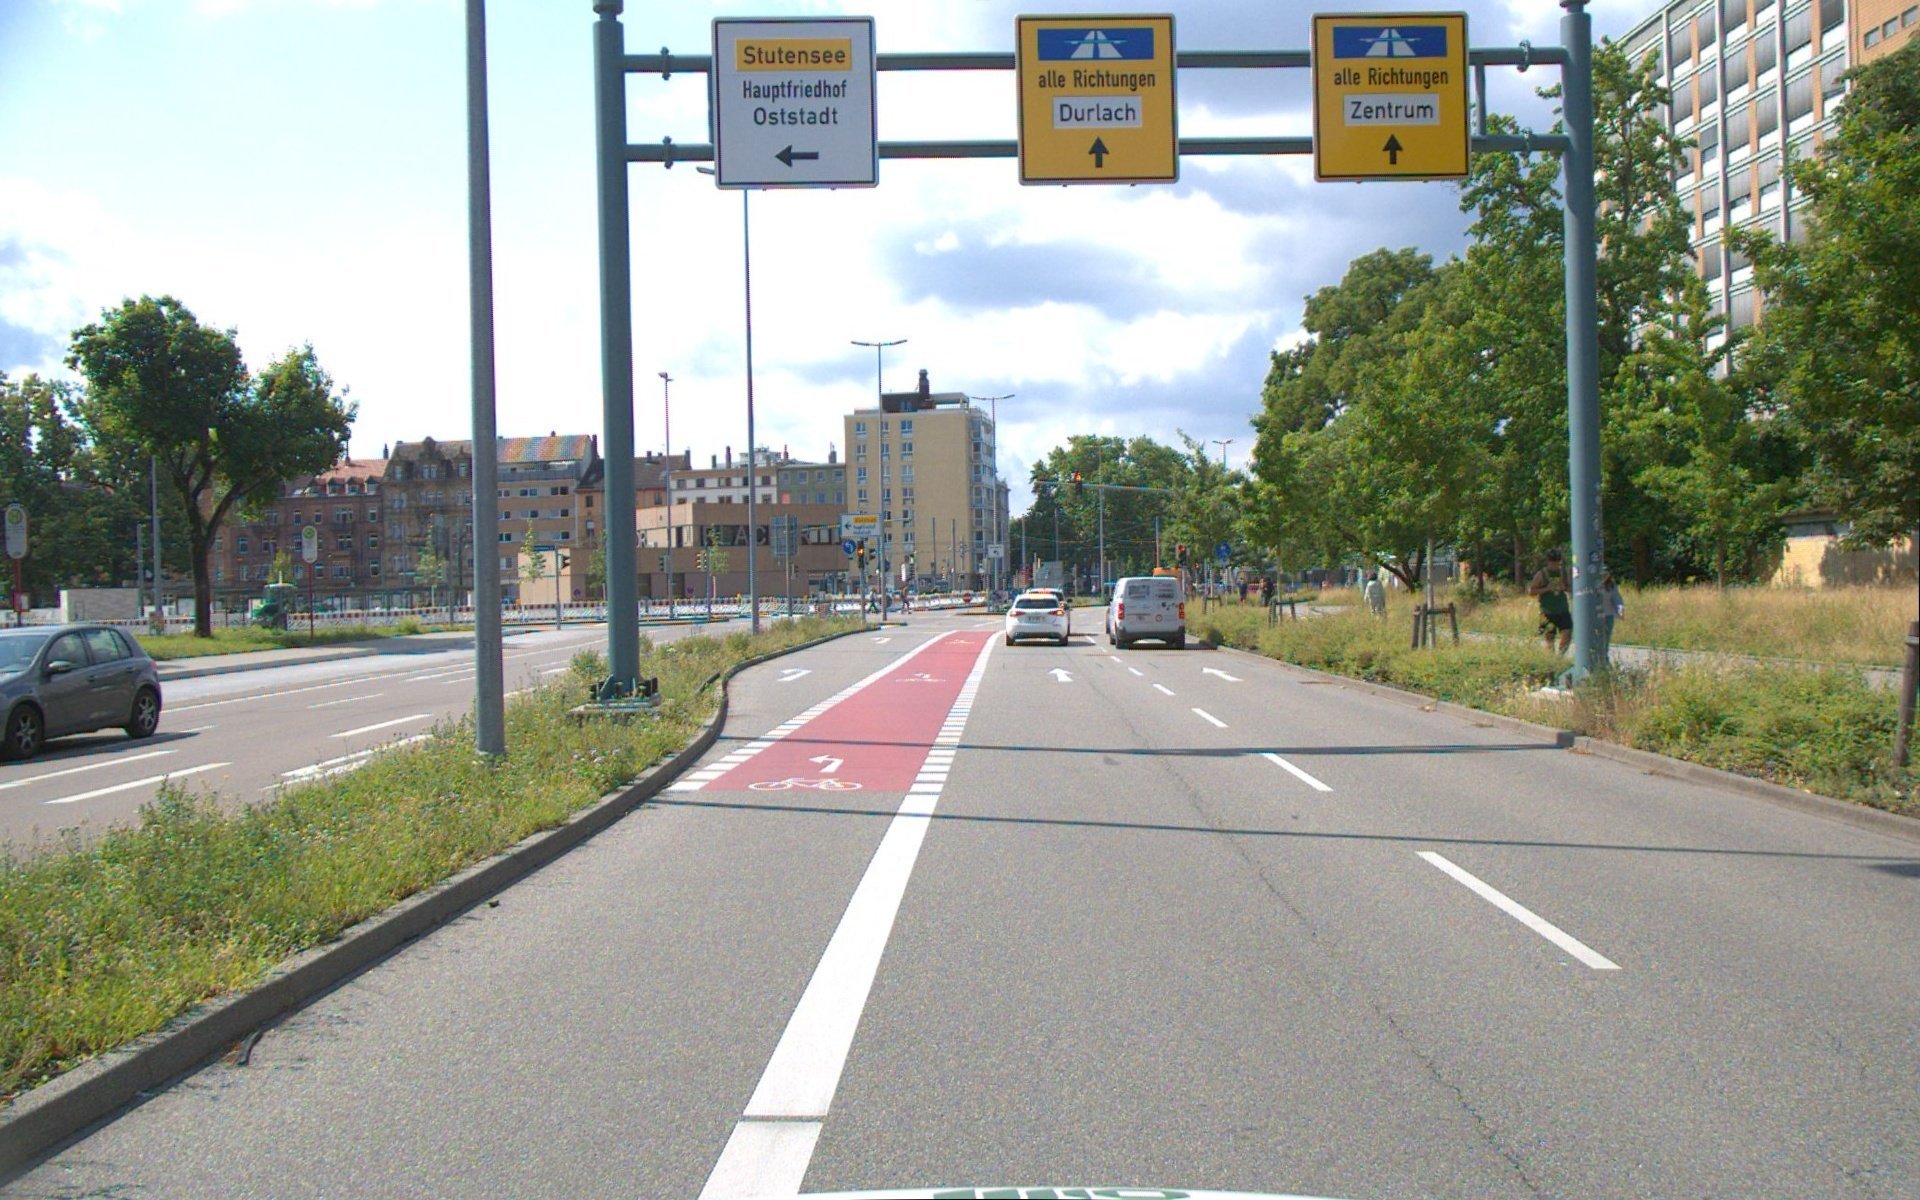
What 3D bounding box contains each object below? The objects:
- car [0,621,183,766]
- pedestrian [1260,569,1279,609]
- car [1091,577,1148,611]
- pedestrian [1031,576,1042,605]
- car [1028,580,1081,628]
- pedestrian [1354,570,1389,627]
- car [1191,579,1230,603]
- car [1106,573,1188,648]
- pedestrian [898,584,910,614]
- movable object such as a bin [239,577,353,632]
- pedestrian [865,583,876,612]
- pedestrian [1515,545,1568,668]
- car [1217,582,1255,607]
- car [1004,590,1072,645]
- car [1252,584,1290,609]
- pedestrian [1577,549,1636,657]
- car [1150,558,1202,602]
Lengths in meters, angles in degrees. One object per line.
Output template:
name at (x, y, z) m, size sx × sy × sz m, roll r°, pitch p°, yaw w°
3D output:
car at (-11.122, 1.074, 19.702) m, size 1.665 × 1.470 × 4.146 m, roll -3°, pitch 0°, yaw 1°
pedestrian at (14.068, -0.491, 75.179) m, size 0.727 × 1.766 × 0.679 m, roll -1°, pitch 0°, yaw 5°
car at (9.274, -0.350, 95.862) m, size 1.955 × 1.847 × 3.995 m, roll 1°, pitch 0°, yaw 27°
pedestrian at (4.605, -0.579, 99.125) m, size 0.513 × 1.713 × 0.624 m, roll -1°, pitch 0°, yaw 11°
car at (3.187, 0.109, 56.264) m, size 1.753 × 1.566 × 4.012 m, roll 0°, pitch 1°, yaw 2°
pedestrian at (12.289, -0.044, 49.387) m, size 0.850 × 1.667 × 0.721 m, roll -1°, pitch 0°, yaw 3°
car at (20.468, -0.737, 134.838) m, size 1.955 × 1.858 × 3.996 m, roll -2°, pitch 0°, yaw 27°
car at (5.103, 0.249, 45.647) m, size 1.902 × 1.902 × 4.827 m, roll -1°, pitch 1°, yaw 3°
pedestrian at (-3.335, -0.089, 98.338) m, size 0.513 × 1.763 × 0.624 m, roll -1°, pitch 0°, yaw 11°
movable object such as a bin at (-37.478, 0.215, 93.409) m, size 2.250 × 2.935 × 5.503 m, roll -2°, pitch 0°, yaw 45°
pedestrian at (-5.403, -0.152, 99.638) m, size 0.513 × 1.763 × 0.624 m, roll -1°, pitch 0°, yaw 11°
pedestrian at (8.845, 0.095, 25.176) m, size 0.555 × 1.833 × 0.639 m, roll -1°, pitch 0°, yaw 2°
car at (23.556, -0.496, 141.094) m, size 1.952 × 1.972 × 4.635 m, roll -2°, pitch 0°, yaw 26°
car at (2.275, 0.477, 48.176) m, size 1.864 × 1.448 × 4.386 m, roll -2°, pitch 1°, yaw 3°
car at (25.931, -0.291, 137.846) m, size 1.952 × 1.972 × 4.635 m, roll -2°, pitch 0°, yaw 26°
pedestrian at (9.855, 0.036, 25.221) m, size 0.610 × 1.608 × 0.708 m, roll -1°, pitch 0°, yaw 2°
car at (14.733, -1.364, 112.382) m, size 2.088 × 2.829 × 4.635 m, roll -2°, pitch 0°, yaw 26°
